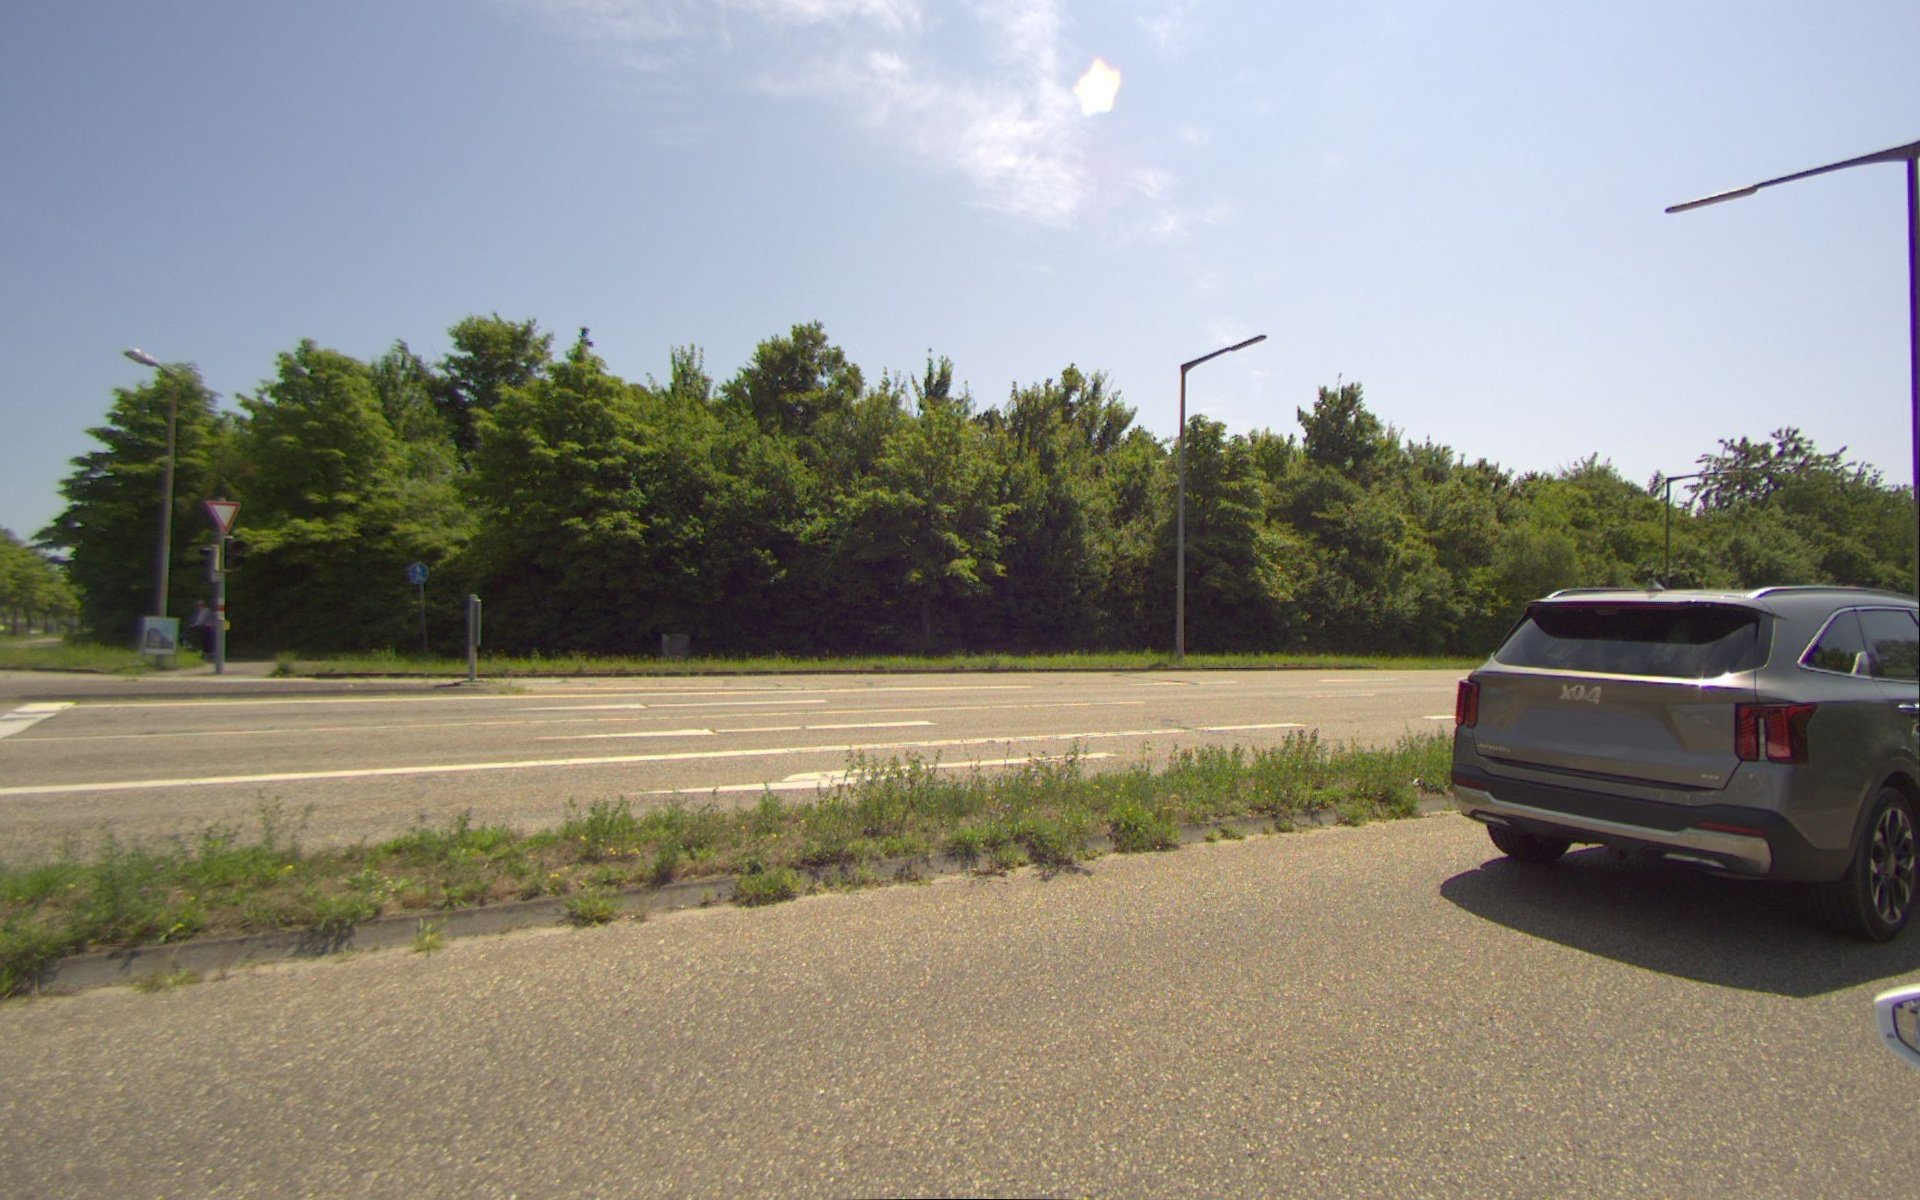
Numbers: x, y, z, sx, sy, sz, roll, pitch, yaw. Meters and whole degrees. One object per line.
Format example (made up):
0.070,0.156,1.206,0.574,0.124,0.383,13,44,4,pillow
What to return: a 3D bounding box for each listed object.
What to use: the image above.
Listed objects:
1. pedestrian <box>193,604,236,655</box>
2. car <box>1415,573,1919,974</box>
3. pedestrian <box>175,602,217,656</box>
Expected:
-22.349,0.878,30.120,0.606,1.523,0.798,0,-1,25,pedestrian
5.063,0.804,6.146,4.588,1.684,1.796,2,-1,-29,car
-23.253,0.871,30.571,0.606,1.624,0.798,0,-1,25,pedestrian
